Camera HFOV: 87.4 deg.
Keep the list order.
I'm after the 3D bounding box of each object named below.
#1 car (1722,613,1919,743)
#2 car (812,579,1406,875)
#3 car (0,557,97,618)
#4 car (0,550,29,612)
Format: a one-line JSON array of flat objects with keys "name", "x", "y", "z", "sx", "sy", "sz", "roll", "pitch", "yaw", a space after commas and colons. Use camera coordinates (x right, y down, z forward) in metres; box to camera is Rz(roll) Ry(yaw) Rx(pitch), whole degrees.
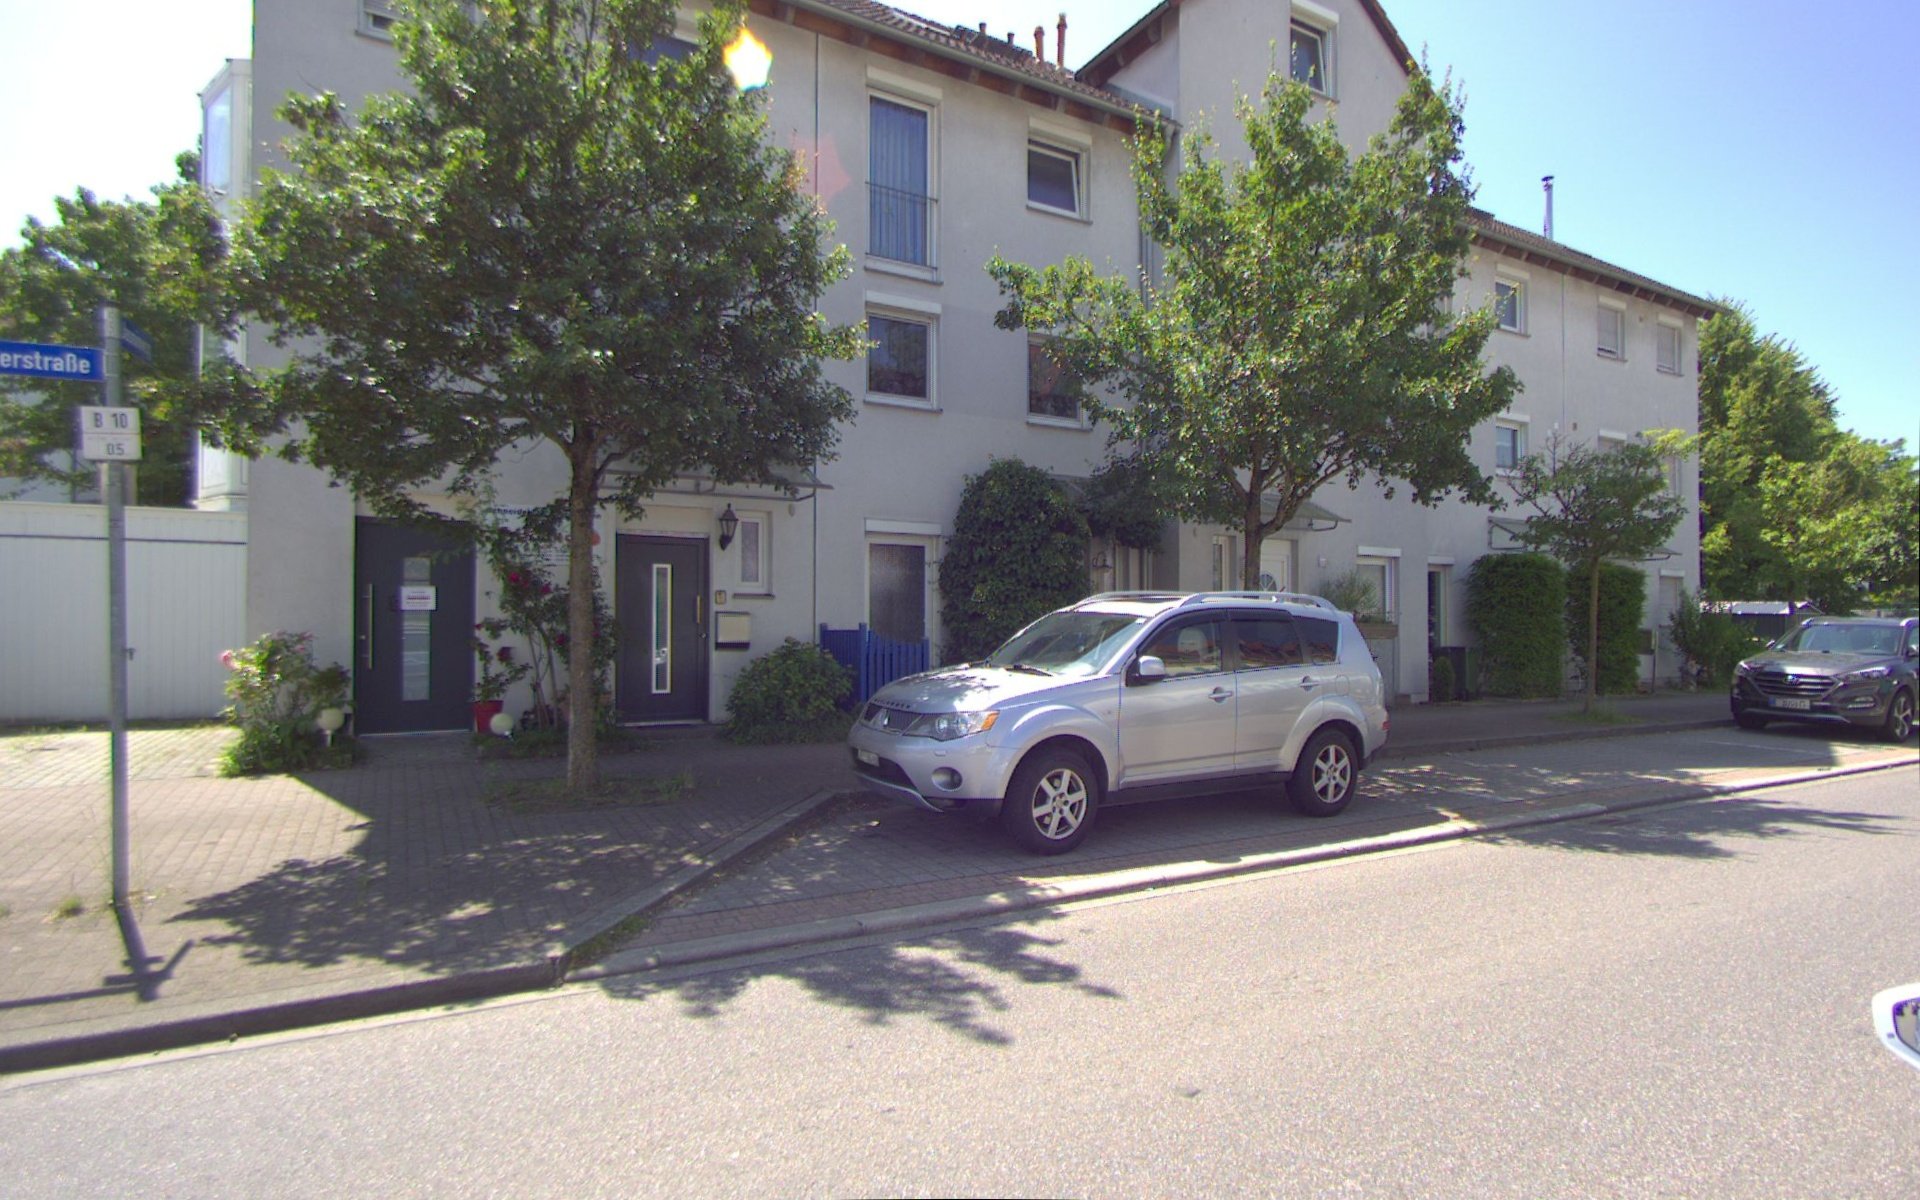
[{"name": "car", "x": 12.959, "y": 1.038, "z": 14.528, "sx": 3.950, "sy": 1.641, "sz": 1.684, "roll": 1, "pitch": -1, "yaw": -30}, {"name": "car", "x": 1.273, "y": 0.770, "z": 7.707, "sx": 4.474, "sy": 1.709, "sz": 1.697, "roll": 1, "pitch": 0, "yaw": -31}, {"name": "car", "x": -23.803, "y": -0.341, "z": 25.430, "sx": 1.668, "sy": 1.447, "sz": 3.980, "roll": 1, "pitch": 1, "yaw": -21}, {"name": "car", "x": -25.940, "y": -0.518, "z": 25.422, "sx": 1.720, "sy": 1.645, "sz": 3.988, "roll": 3, "pitch": 0, "yaw": -14}]
